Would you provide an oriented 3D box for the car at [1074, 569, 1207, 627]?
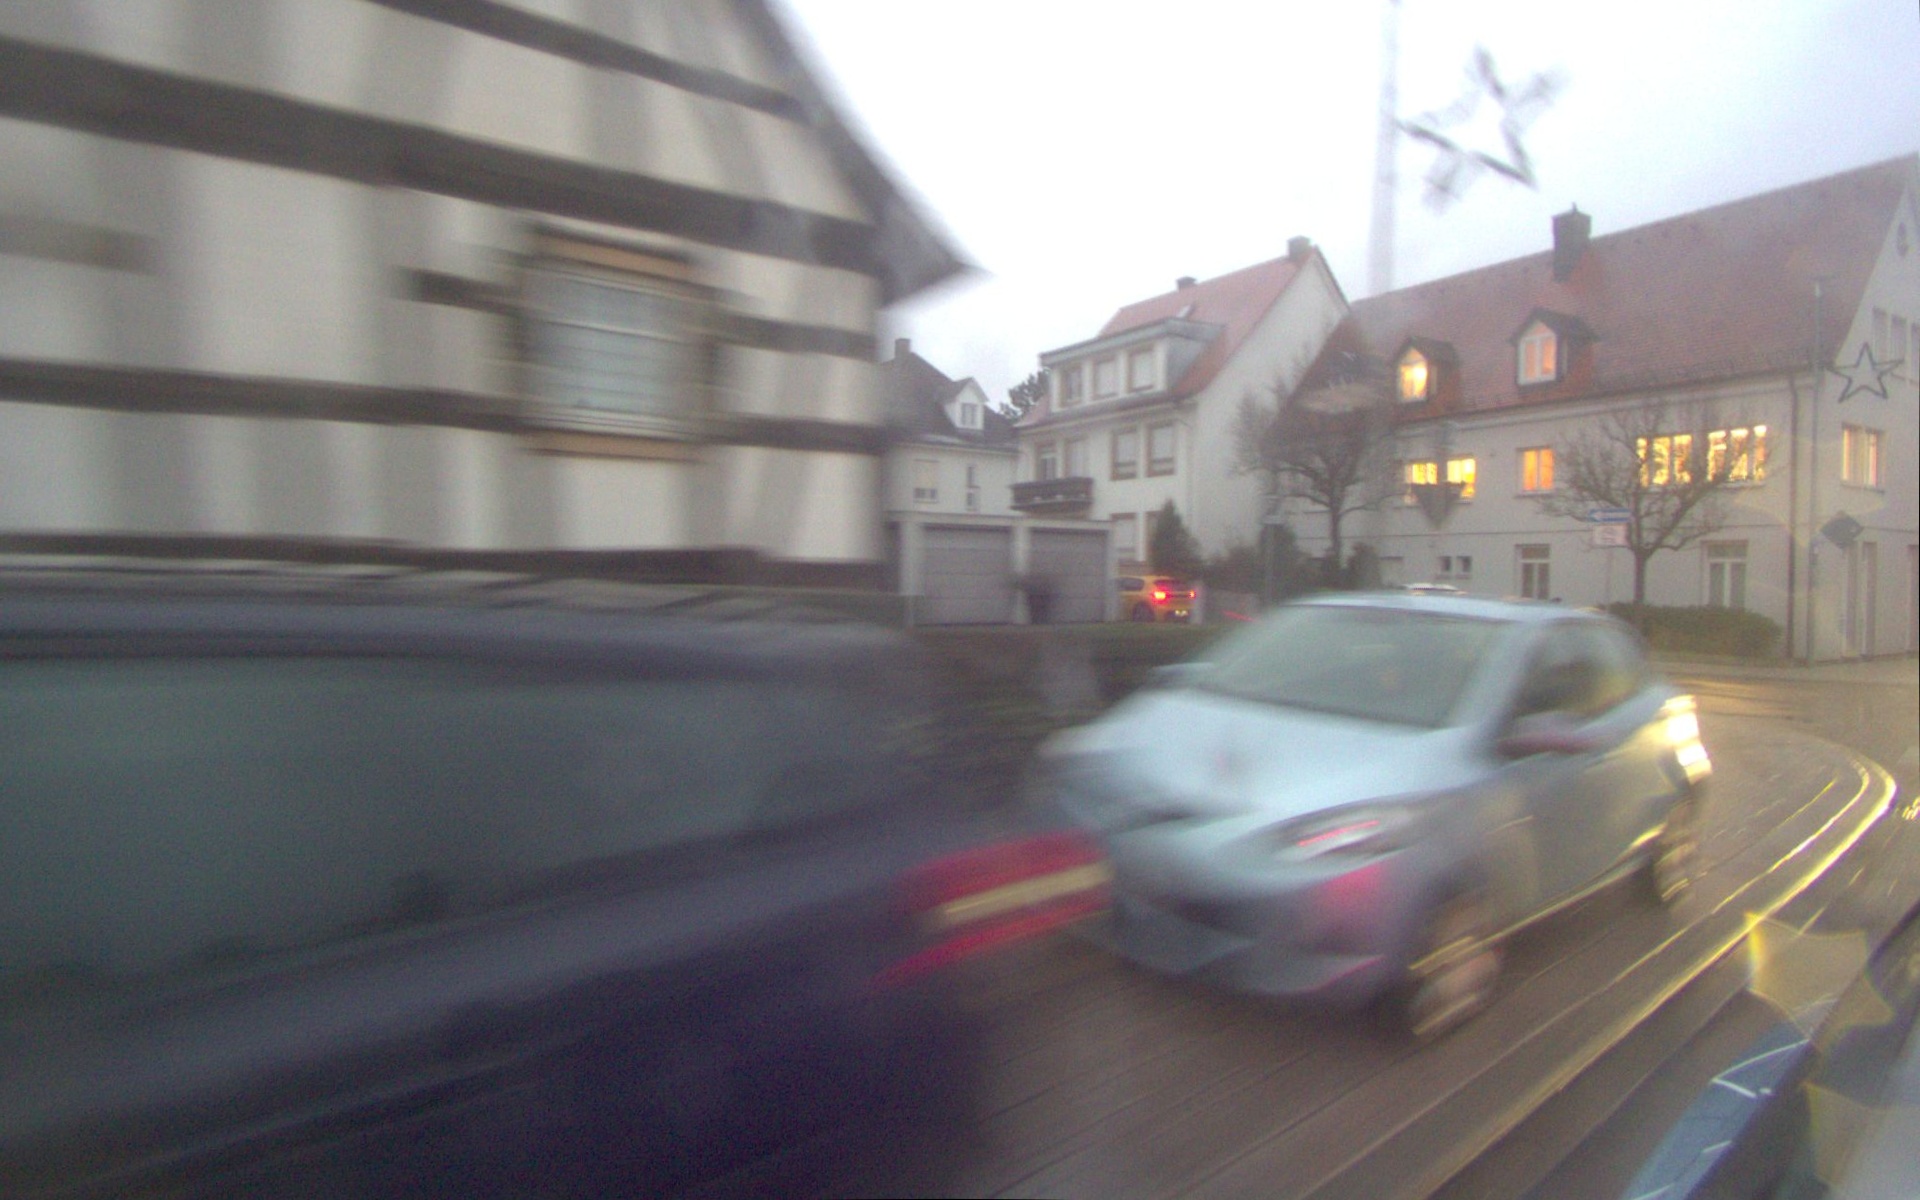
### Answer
[{"bbox_3d":[5.035,-0.100,28.628,1.740,1.465,3.733,1,2,-28],"label":"car"}]

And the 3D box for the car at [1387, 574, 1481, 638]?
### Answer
[{"bbox_3d":[12.457,0.125,26.833,1.773,1.486,4.197,3,1,19],"label":"car"}]

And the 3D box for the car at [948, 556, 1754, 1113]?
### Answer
[{"bbox_3d":[2.030,0.611,4.683,3.929,1.476,1.737,0,3,-40],"label":"car"}]

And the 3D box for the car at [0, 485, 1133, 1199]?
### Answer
[{"bbox_3d":[-1.887,0.616,1.203,4.313,1.545,1.768,0,4,-41],"label":"car"}]

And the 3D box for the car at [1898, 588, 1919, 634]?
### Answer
[{"bbox_3d":[40.741,0.504,41.957,4.162,1.845,1.787,1,1,-34],"label":"car"}]
